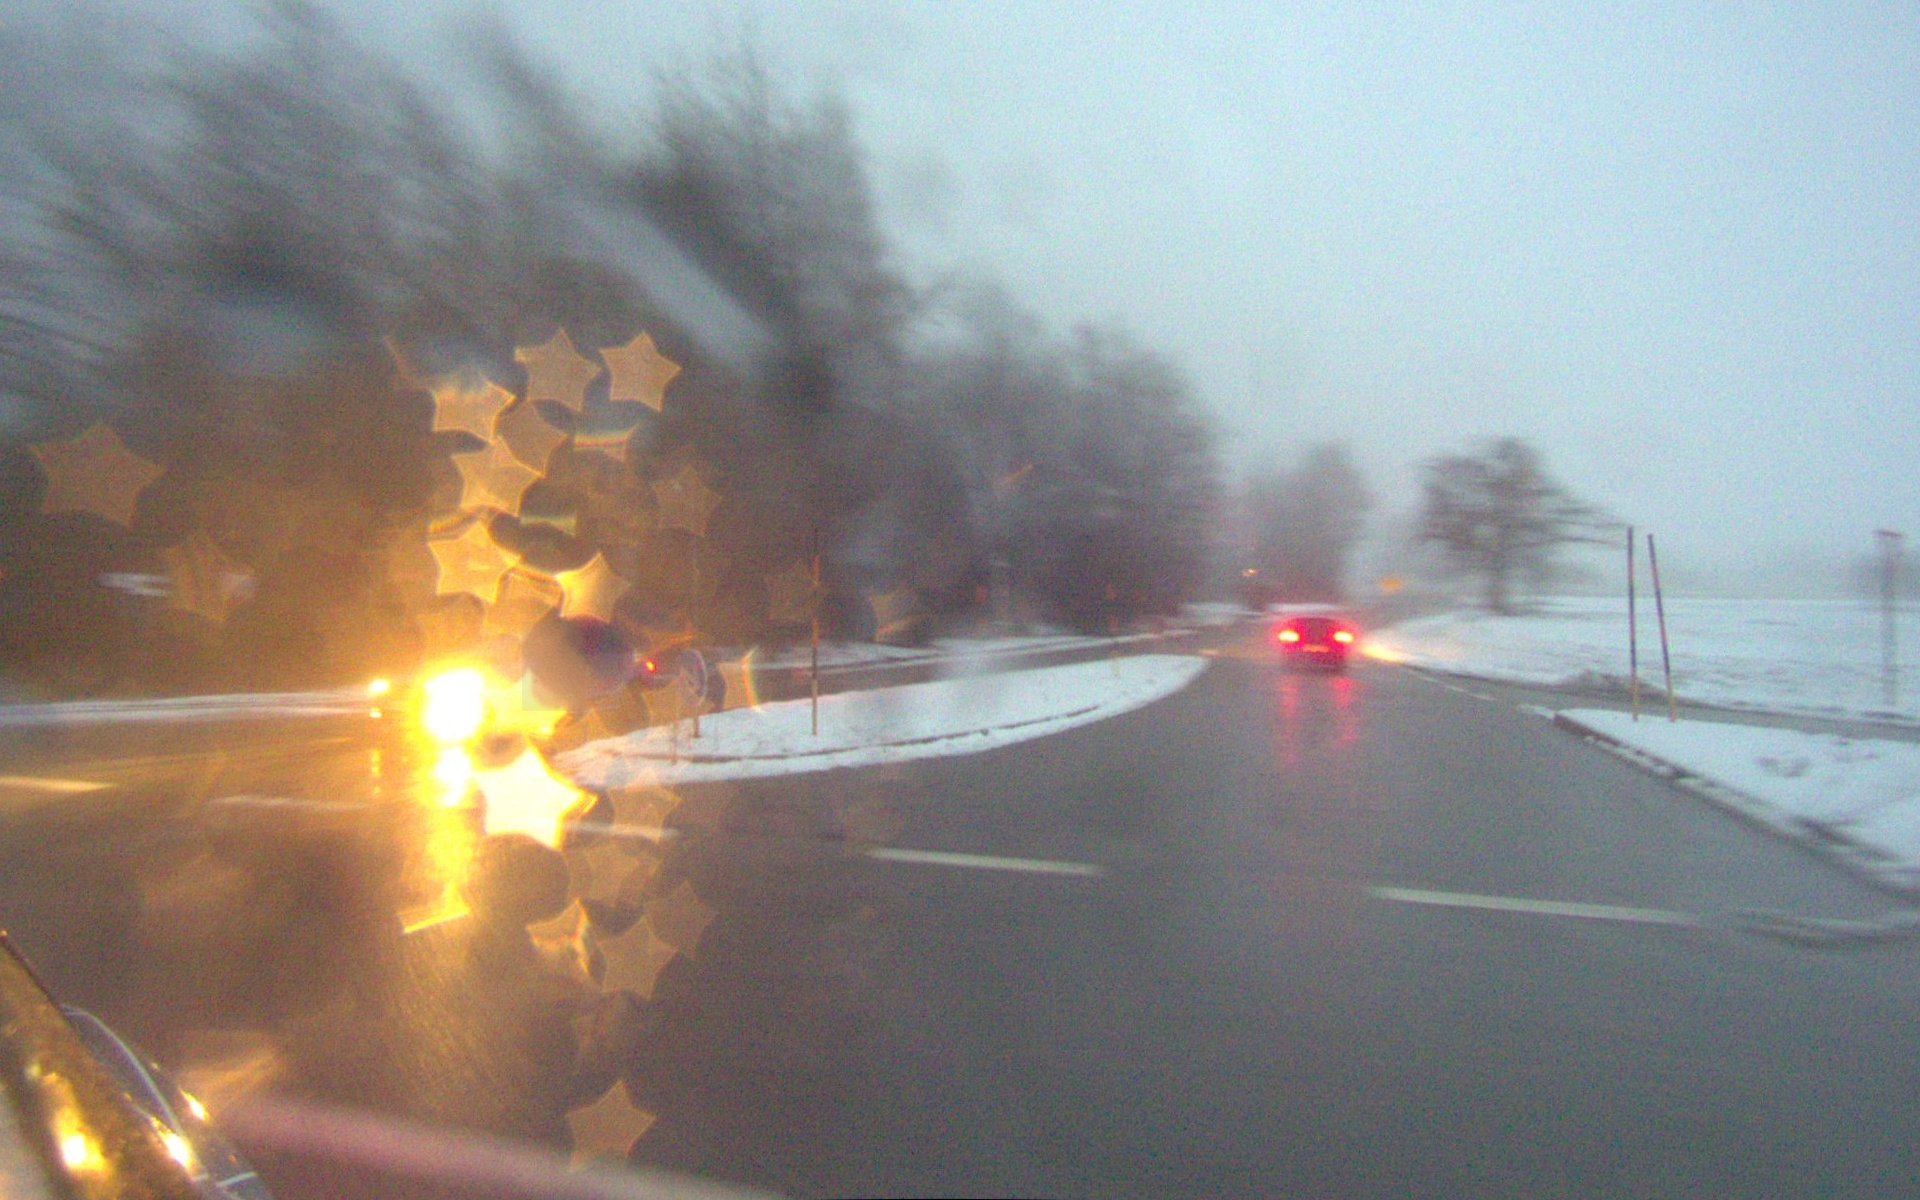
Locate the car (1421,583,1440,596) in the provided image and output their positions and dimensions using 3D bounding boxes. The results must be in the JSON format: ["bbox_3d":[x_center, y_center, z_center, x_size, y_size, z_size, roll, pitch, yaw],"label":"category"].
[{"bbox_3d":[64.963,-1.430,139.738,1.992,1.820,3.960,-1,0,29],"label":"car"}]

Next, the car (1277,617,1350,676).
[{"bbox_3d":[9.353,1.182,26.960,1.562,1.463,3.396,-1,-1,15],"label":"car"}]

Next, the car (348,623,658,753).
[{"bbox_3d":[-5.968,1.066,13.668,1.715,1.445,3.648,-2,-1,23],"label":"car"}]
